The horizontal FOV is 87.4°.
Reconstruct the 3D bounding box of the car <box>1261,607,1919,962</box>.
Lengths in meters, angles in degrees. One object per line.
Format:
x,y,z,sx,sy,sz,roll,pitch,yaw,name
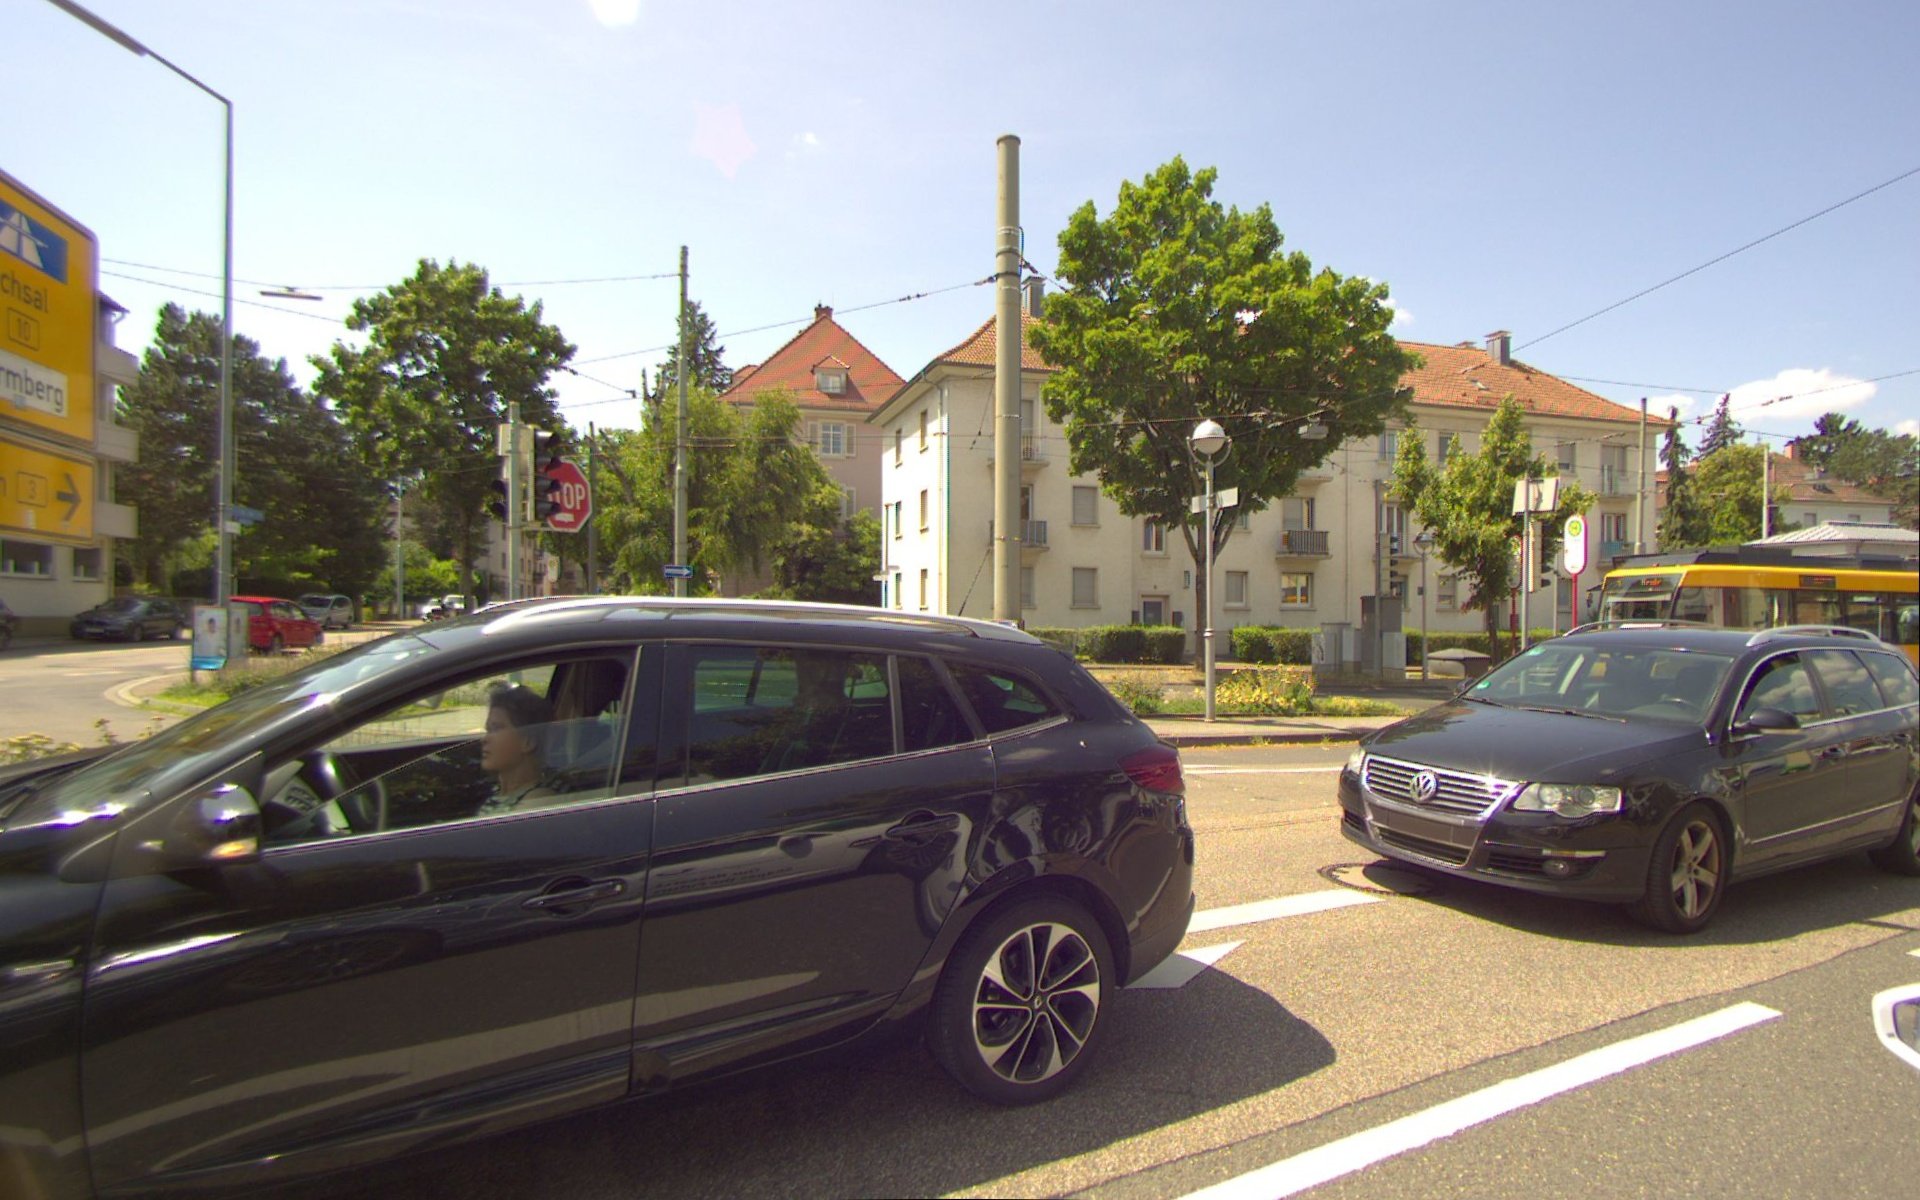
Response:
4.266,0.855,6.312,4.455,1.539,1.985,1,-1,-28,car

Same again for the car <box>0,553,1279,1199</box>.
-1.300,0.701,3.164,4.374,1.520,1.984,1,-1,-30,car

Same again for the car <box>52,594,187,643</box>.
-28.295,0.611,34.000,1.967,1.530,3.987,1,-1,-15,car

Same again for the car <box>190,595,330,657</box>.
-19.720,0.709,28.519,1.773,1.578,4.028,2,-1,-12,car

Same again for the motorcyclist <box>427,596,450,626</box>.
-25.683,0.545,49.494,0.700,1.465,1.017,1,0,-9,motorcyclist

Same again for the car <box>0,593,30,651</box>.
-26.023,0.556,25.249,1.966,1.530,4.370,1,-1,-14,car

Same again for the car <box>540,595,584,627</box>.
-24.259,0.658,61.334,1.967,1.831,3.988,2,0,-15,car

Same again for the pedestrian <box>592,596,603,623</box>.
-22.137,0.576,61.328,0.501,1.678,0.465,2,0,-10,pedestrian

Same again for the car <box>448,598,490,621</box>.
-38.367,0.739,78.548,1.772,1.578,4.031,4,-1,-9,car

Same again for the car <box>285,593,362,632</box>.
-31.635,0.613,50.063,1.773,1.740,4.029,4,-1,-11,car

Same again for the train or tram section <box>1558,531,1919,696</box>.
21.745,0.437,25.463,13.954,3.616,2.808,1,-1,-18,train or tram section

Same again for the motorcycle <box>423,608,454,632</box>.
-25.688,0.963,49.512,0.700,1.149,2.194,1,0,-9,motorcycle

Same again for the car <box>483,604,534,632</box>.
-27.095,1.057,60.423,1.772,1.578,4.031,1,-1,-9,car
